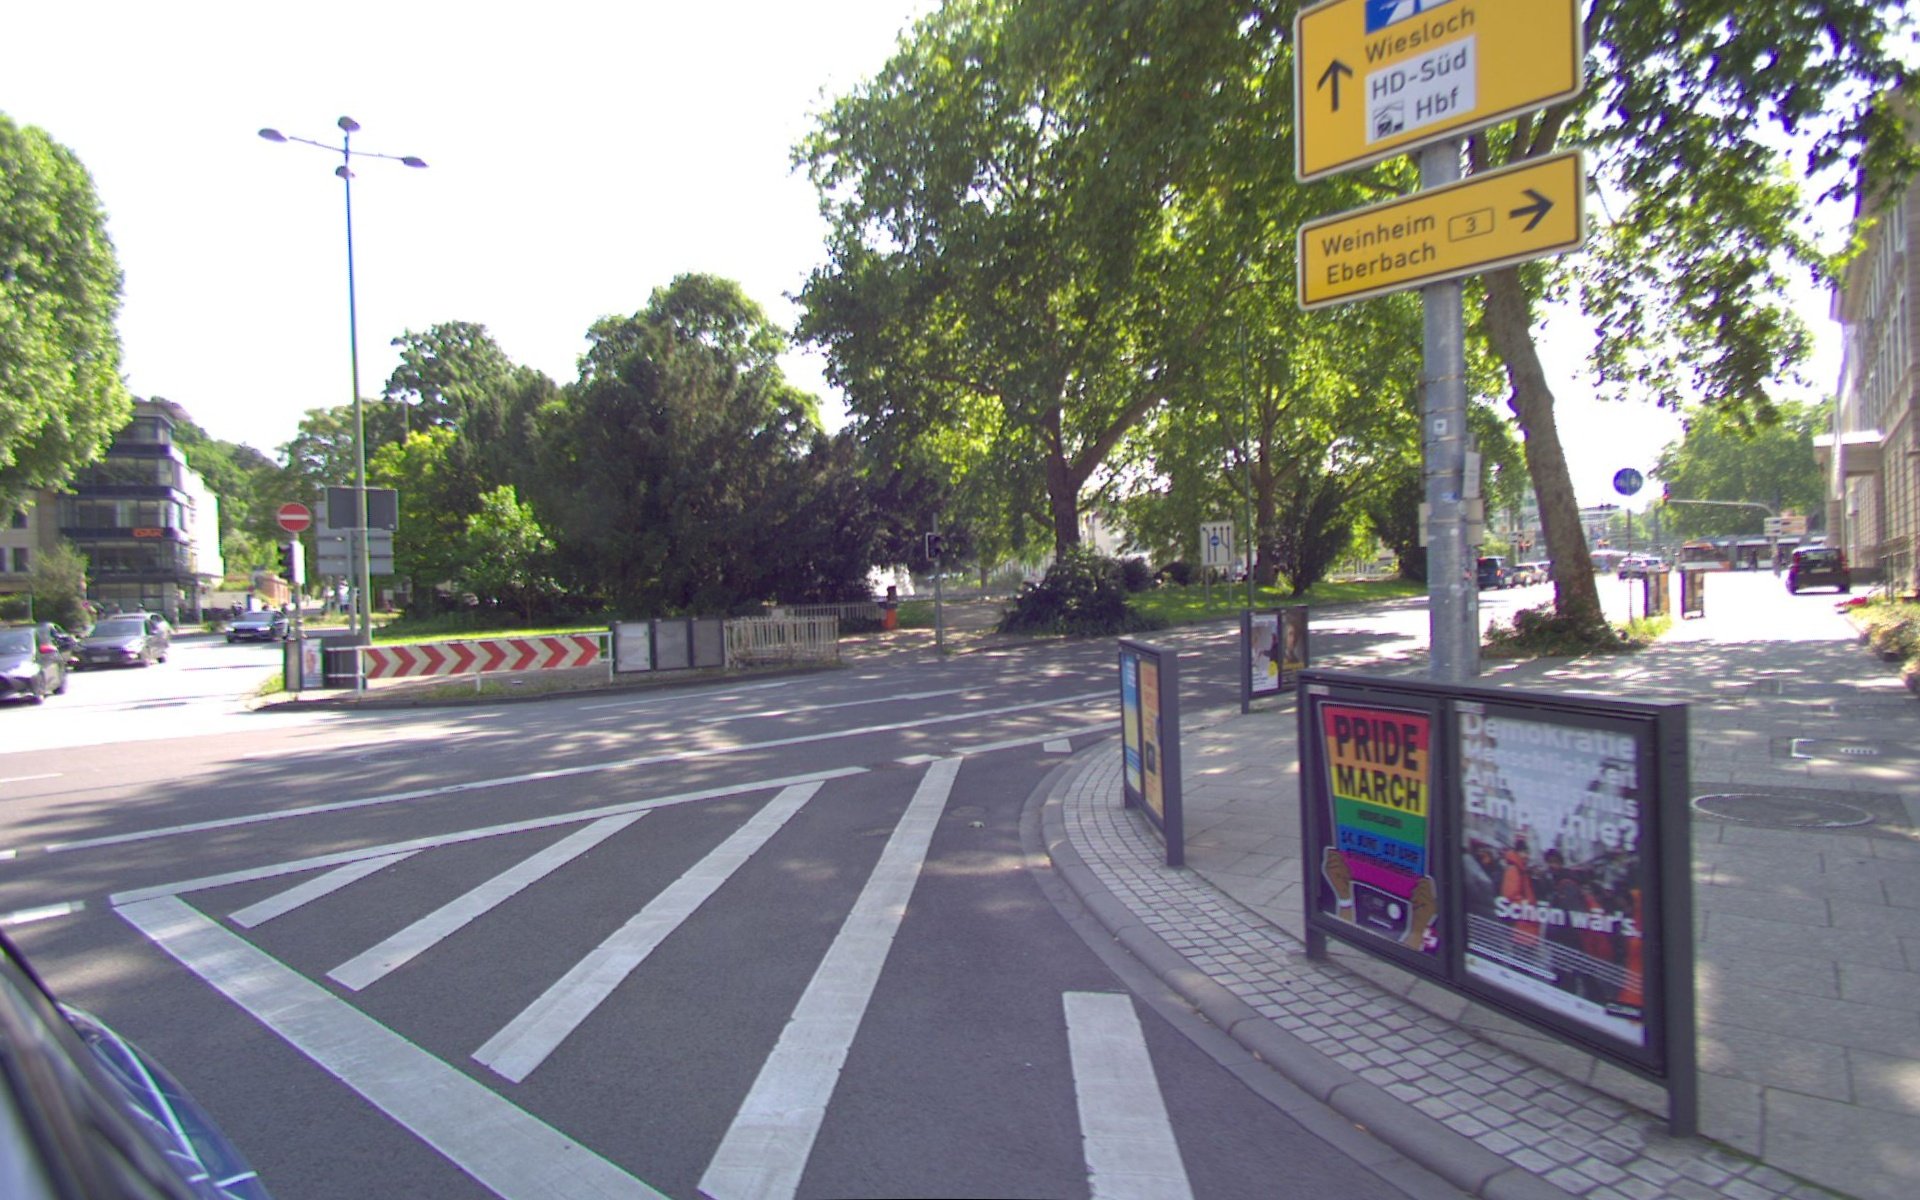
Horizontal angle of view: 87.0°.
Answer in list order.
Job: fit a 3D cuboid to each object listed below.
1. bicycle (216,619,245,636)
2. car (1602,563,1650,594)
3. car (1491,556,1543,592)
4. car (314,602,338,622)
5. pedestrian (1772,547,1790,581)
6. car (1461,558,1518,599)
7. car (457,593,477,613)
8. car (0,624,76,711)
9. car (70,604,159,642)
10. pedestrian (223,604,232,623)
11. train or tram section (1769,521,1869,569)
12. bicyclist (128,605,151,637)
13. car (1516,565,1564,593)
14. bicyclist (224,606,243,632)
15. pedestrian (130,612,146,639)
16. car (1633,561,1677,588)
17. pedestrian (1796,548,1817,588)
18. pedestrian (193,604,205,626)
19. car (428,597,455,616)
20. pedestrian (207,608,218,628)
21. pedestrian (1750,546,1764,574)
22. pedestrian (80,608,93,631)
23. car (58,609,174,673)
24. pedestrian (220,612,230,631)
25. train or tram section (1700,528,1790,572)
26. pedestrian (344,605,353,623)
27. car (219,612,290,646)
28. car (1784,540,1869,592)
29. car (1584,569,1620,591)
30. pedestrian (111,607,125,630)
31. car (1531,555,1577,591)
[{"bbox_3d":[-47.489,1.779,65.942,0.699,1.062,2.213,-2,1,-13],"label":"bicycle"},{"bbox_3d":[41.481,-1.325,63.012,1.851,1.748,4.001,-3,0,43],"label":"car"},{"bbox_3d":[34.869,-1.622,63.315,1.935,2.096,4.001,-3,0,43],"label":"car"},{"bbox_3d":[-62.458,1.194,99.741,1.820,1.801,4.012,-2,0,-30],"label":"car"},{"bbox_3d":[43.930,-1.907,54.131,0.696,1.800,0.824,-2,0,40],"label":"pedestrian"},{"bbox_3d":[31.094,-1.280,59.418,1.935,2.184,4.001,-3,0,43],"label":"car"},{"bbox_3d":[-52.459,0.364,107.711,1.820,2.029,4.013,-2,1,-27],"label":"car"},{"bbox_3d":[-19.082,1.299,20.025,1.781,1.462,3.965,-1,1,-33],"label":"car"},{"bbox_3d":[-35.172,0.913,42.226,1.909,1.440,4.564,-2,0,-28],"label":"car"},{"bbox_3d":[-67.967,1.233,93.919,0.592,1.718,0.606,-2,1,-30],"label":"pedestrian"},{"bbox_3d":[73.789,-4.658,87.124,2.115,3.711,6.303,-2,0,-18],"label":"train or tram section"},{"bbox_3d":[-42.538,1.082,52.467,0.754,1.648,0.946,-1,1,-32],"label":"bicyclist"},{"bbox_3d":[39.340,-1.429,68.560,1.935,1.712,4.001,-3,0,43],"label":"car"},{"bbox_3d":[-47.404,1.235,66.029,0.699,1.625,0.734,-2,0,-13],"label":"bicyclist"},{"bbox_3d":[-53.041,1.617,65.274,0.699,1.685,0.536,-2,0,-33],"label":"pedestrian"},{"bbox_3d":[48.454,-1.806,70.491,1.935,1.712,4.001,-3,0,43],"label":"car"},{"bbox_3d":[42.707,-1.604,51.054,0.822,2.029,0.697,-1,1,-42],"label":"pedestrian"},{"bbox_3d":[-62.359,1.223,82.921,0.592,1.717,0.606,-2,1,-25],"label":"pedestrian"},{"bbox_3d":[-49.316,0.642,96.233,1.821,1.674,4.011,-2,1,-33],"label":"car"},{"bbox_3d":[-63.378,1.519,85.831,0.592,1.717,0.606,-2,1,-25],"label":"pedestrian"},{"bbox_3d":[54.019,-2.712,68.587,0.696,1.800,0.824,-2,0,40],"label":"pedestrian"},{"bbox_3d":[-65.559,1.437,75.921,0.643,1.717,0.647,-2,1,-37],"label":"pedestrian"},{"bbox_3d":[-25.370,1.176,30.578,1.858,1.696,4.155,0,1,-28],"label":"car"},{"bbox_3d":[-65.854,1.940,90.695,0.592,1.718,0.606,-2,0,-29],"label":"pedestrian"},{"bbox_3d":[72.021,-4.550,93.014,2.115,3.711,6.388,-2,0,-15],"label":"train or tram section"},{"bbox_3d":[-61.651,1.414,102.056,0.592,1.718,0.606,-2,0,-23],"label":"pedestrian"},{"bbox_3d":[-33.473,1.330,48.148,1.909,1.440,4.564,-1,0,-24],"label":"car"},{"bbox_3d":[28.521,-1.137,33.254,1.935,1.506,4.001,-3,0,43],"label":"car"},{"bbox_3d":[56.181,-1.751,88.477,1.935,1.712,4.001,-3,0,43],"label":"car"},{"bbox_3d":[-64.234,1.390,77.232,0.690,1.717,0.604,-2,1,-31],"label":"pedestrian"},{"bbox_3d":[42.375,-1.947,72.184,1.935,2.351,4.001,-3,0,43],"label":"car"}]
